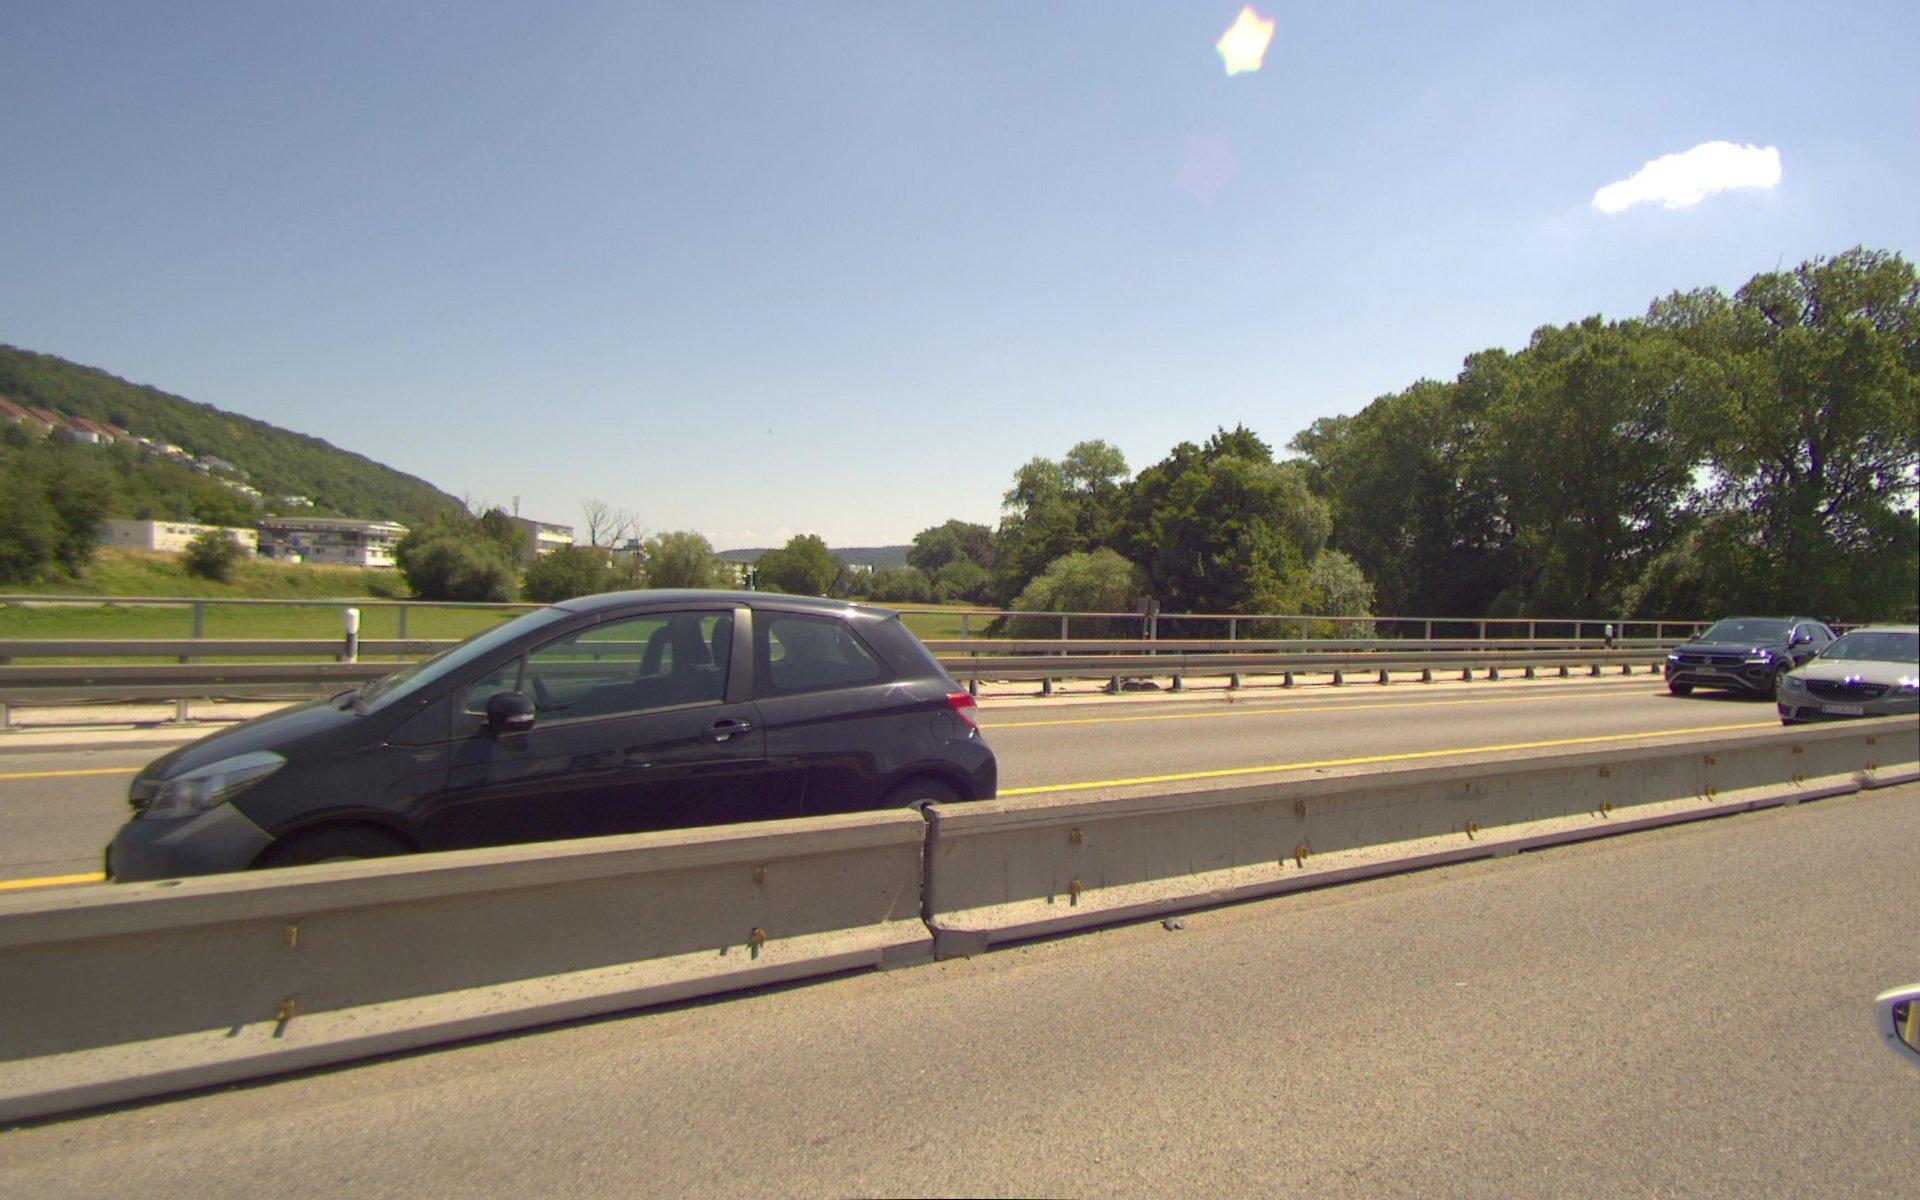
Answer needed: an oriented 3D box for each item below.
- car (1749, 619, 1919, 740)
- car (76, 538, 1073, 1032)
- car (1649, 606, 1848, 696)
[{"bbox_3d":[12.997,0.994,13.833,4.602,1.437,1.817,1,-1,-31],"label":"car"},{"bbox_3d":[-1.563,0.646,5.060,4.038,1.603,1.733,1,-2,-31],"label":"car"},{"bbox_3d":[15.400,0.935,19.594,3.954,1.590,1.804,1,-1,-31],"label":"car"}]
